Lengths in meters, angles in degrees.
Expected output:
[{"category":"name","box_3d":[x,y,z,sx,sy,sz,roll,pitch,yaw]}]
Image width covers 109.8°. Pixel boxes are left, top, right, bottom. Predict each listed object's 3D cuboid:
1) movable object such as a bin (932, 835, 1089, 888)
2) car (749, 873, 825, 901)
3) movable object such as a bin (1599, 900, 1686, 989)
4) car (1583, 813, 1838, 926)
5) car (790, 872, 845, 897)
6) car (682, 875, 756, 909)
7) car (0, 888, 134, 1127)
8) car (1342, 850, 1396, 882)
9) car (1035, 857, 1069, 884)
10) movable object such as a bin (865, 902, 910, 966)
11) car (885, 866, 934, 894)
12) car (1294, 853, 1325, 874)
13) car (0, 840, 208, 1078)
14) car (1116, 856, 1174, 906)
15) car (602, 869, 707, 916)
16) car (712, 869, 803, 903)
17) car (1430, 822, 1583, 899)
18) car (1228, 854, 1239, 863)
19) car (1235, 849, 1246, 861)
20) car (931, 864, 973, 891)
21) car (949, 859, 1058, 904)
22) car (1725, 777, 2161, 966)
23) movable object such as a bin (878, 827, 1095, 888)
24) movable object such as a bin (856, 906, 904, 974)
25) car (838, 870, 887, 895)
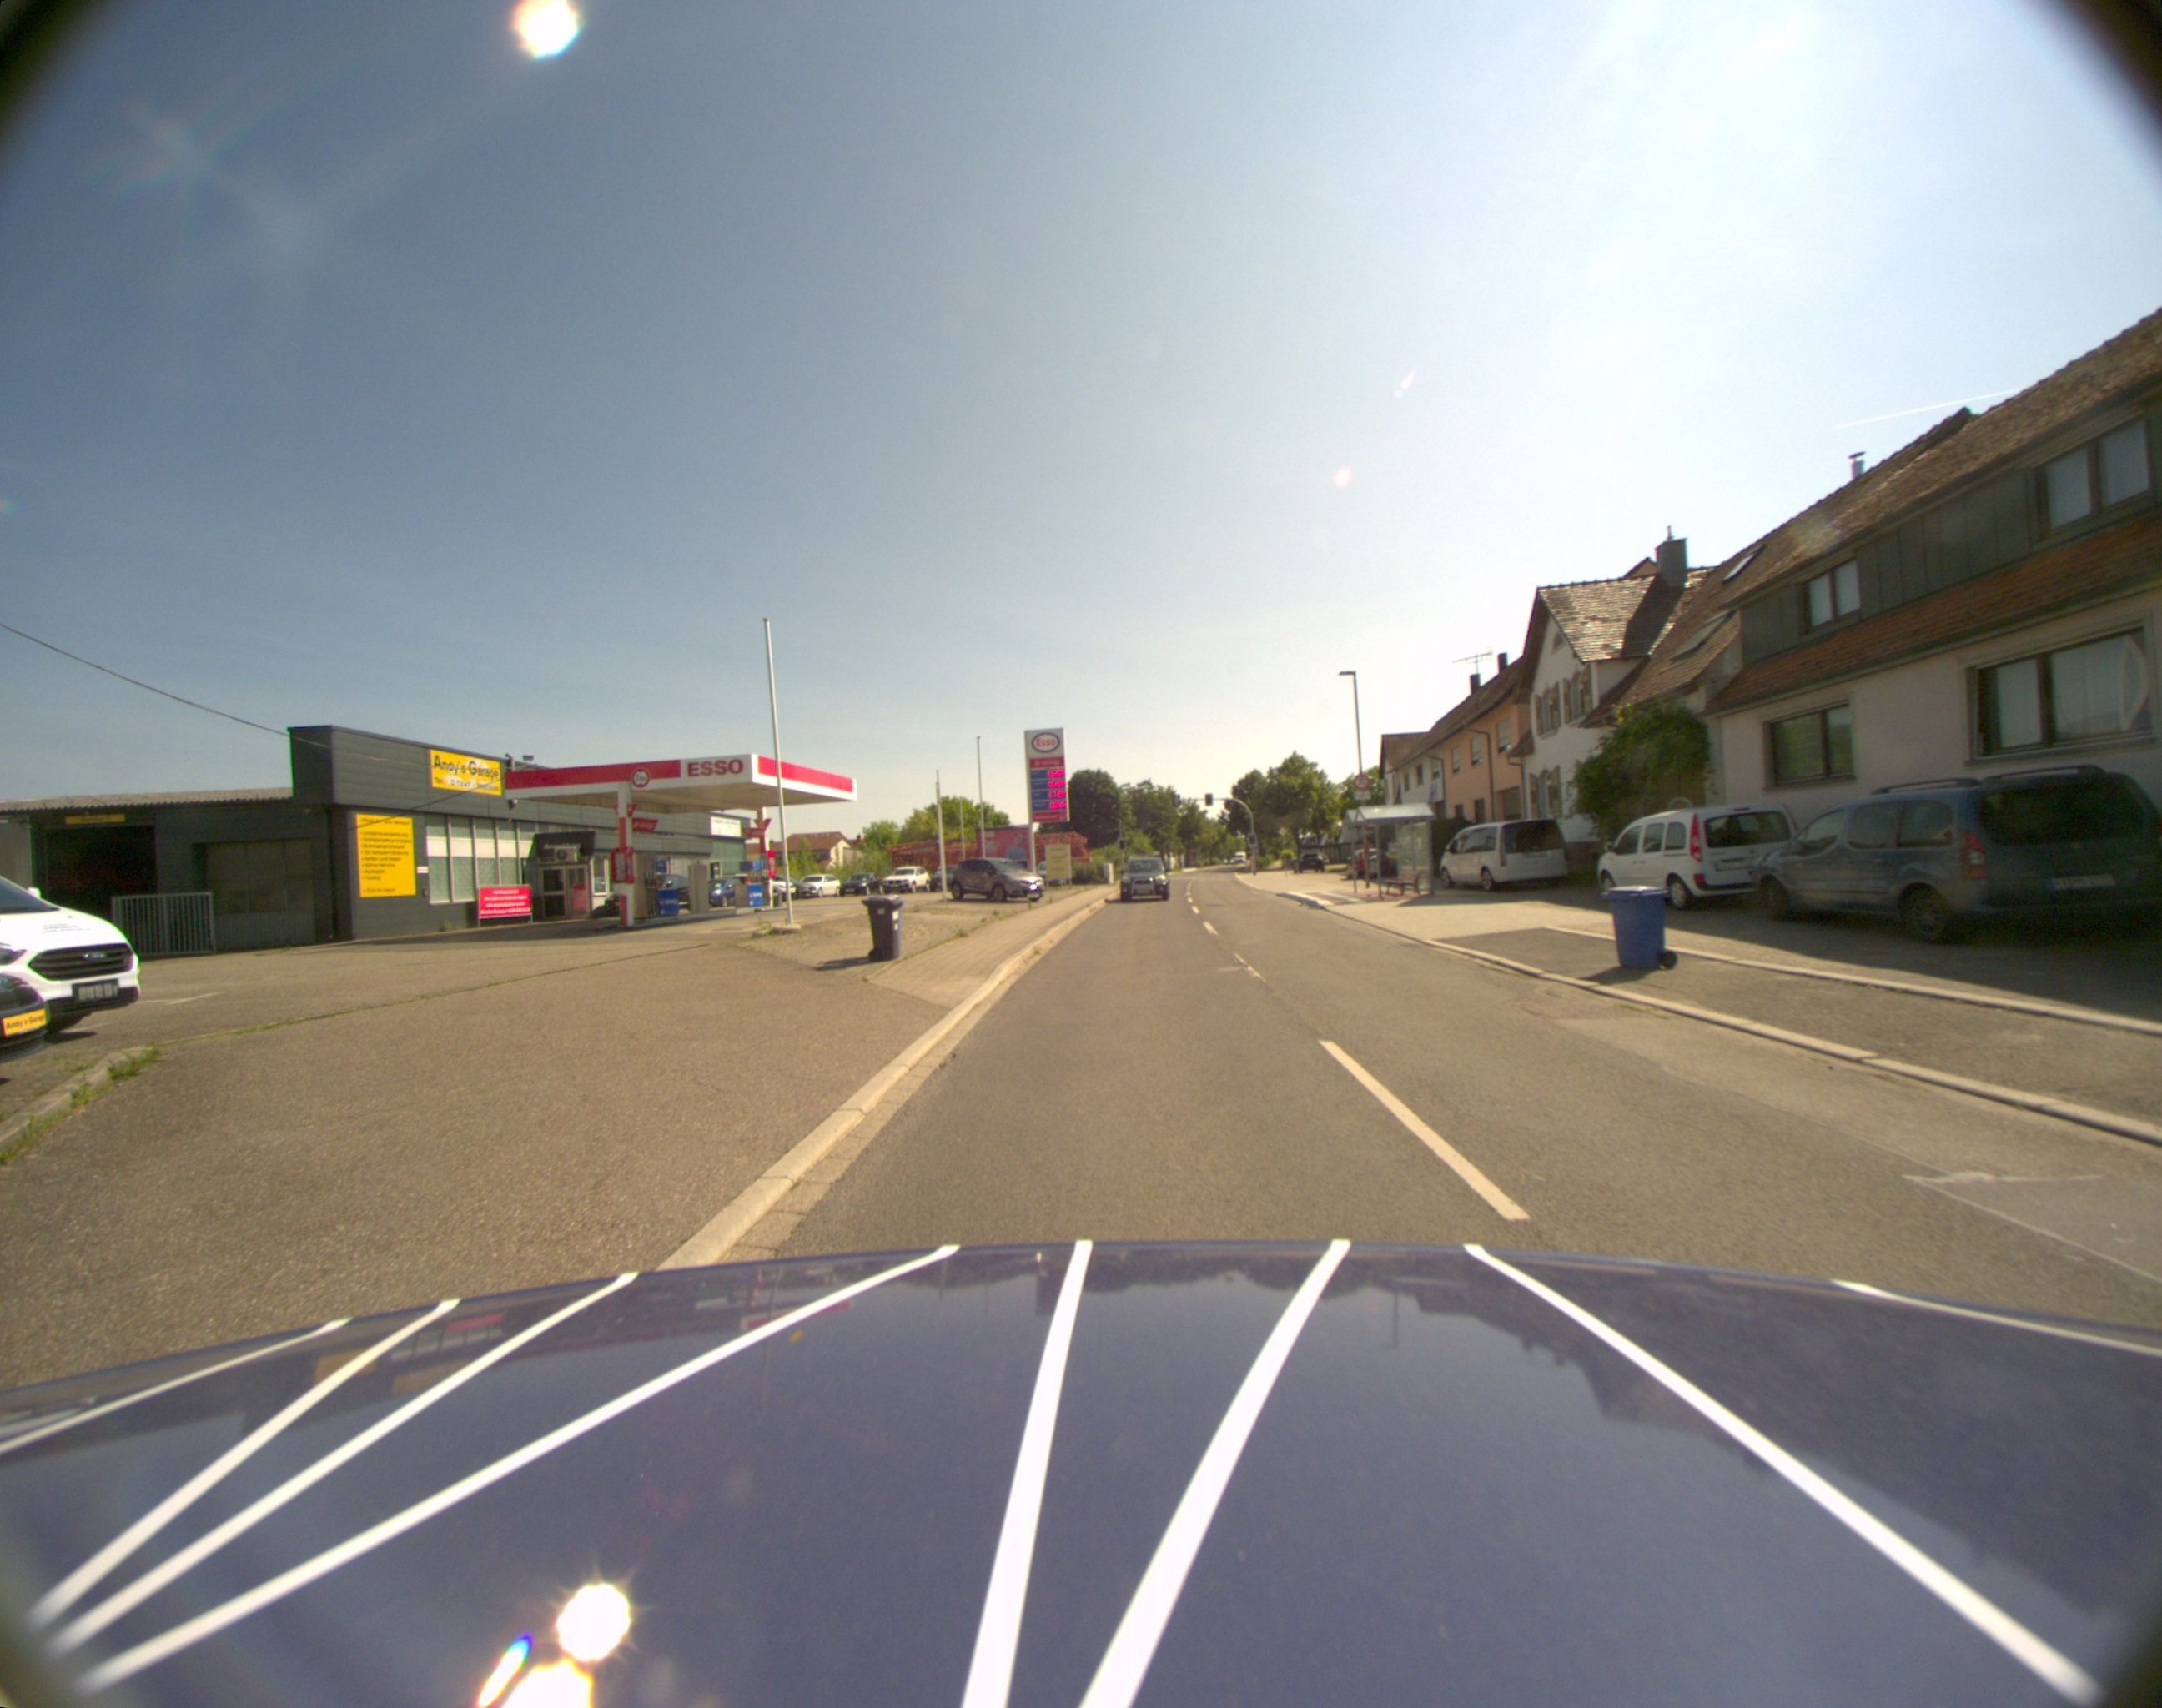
[{"category":"movable object such as a bin","box_3d":[-6.135,0.664,66.926,13.280,4.140,2.864,-2,0,6]},{"category":"car","box_3d":[-17.187,1.907,44.474,3.686,1.465,1.812,-2,0,3]},{"category":"movable object such as a bin","box_3d":[6.489,1.031,8.795,0.559,0.931,0.514,-5,0,-3]},{"category":"car","box_3d":[11.702,0.241,14.593,1.971,1.764,4.280,-3,0,12]},{"category":"car","box_3d":[-16.666,1.898,48.334,1.846,1.378,4.376,-2,0,1]},{"category":"car","box_3d":[-18.094,1.867,38.155,1.797,1.423,4.126,-2,0,-2]},{"category":"car","box_3d":[-9.186,1.074,4.298,4.323,1.541,1.980,-2,0,-28]},{"category":"car","box_3d":[14.701,0.631,38.928,1.718,1.444,3.918,-4,-2,8]},{"category":"car","box_3d":[-1.846,1.081,49.322,1.808,1.676,4.371,-1,-2,3]},{"category":"movable object such as a bin","box_3d":[-3.023,1.246,11.901,0.559,0.933,0.514,-2,0,-3]},{"category":"car","box_3d":[-10.870,1.591,48.497,2.003,1.582,4.339,-2,0,1]},{"category":"car","box_3d":[17.046,0.698,56.867,1.717,1.399,4.401,-1,1,11]},{"category":"car","box_3d":[-11.954,0.974,6.594,5.290,2.002,2.228,-2,0,-19]},{"category":"car","box_3d":[2.574,1.028,29.663,1.847,1.686,4.402,-3,-2,9]},{"category":"car","box_3d":[-17.794,1.580,31.971,1.809,1.730,4.819,-3,-2,-3]},{"category":"car","box_3d":[-17.690,1.752,41.654,4.150,1.624,1.812,-2,0,3]},{"category":"car","box_3d":[12.732,0.167,23.213,2.130,1.975,5.267,-3,0,6]},{"category":"car","box_3d":[30.897,0.926,153.844,1.844,1.582,4.110,-2,0,14]},{"category":"car","box_3d":[35.409,0.203,168.641,1.936,2.488,5.844,-2,0,14]},{"category":"car","box_3d":[-8.169,1.461,48.370,1.846,1.582,4.106,-2,0,1]},{"category":"car","box_3d":[-2.897,0.949,27.879,1.778,1.546,4.170,0,0,-44]},{"category":"car","box_3d":[10.652,0.180,9.770,1.839,1.782,4.347,-5,-1,15]},{"category":"movable object such as a bin","box_3d":[-7.129,0.292,57.798,16.084,3.994,2.775,-2,0,6]},{"category":"movable object such as a bin","box_3d":[-2.961,1.253,11.211,0.559,0.931,0.514,-2,0,-3]},{"category":"car","box_3d":[-13.797,1.801,48.151,1.846,1.378,4.000,-2,0,1]}]
